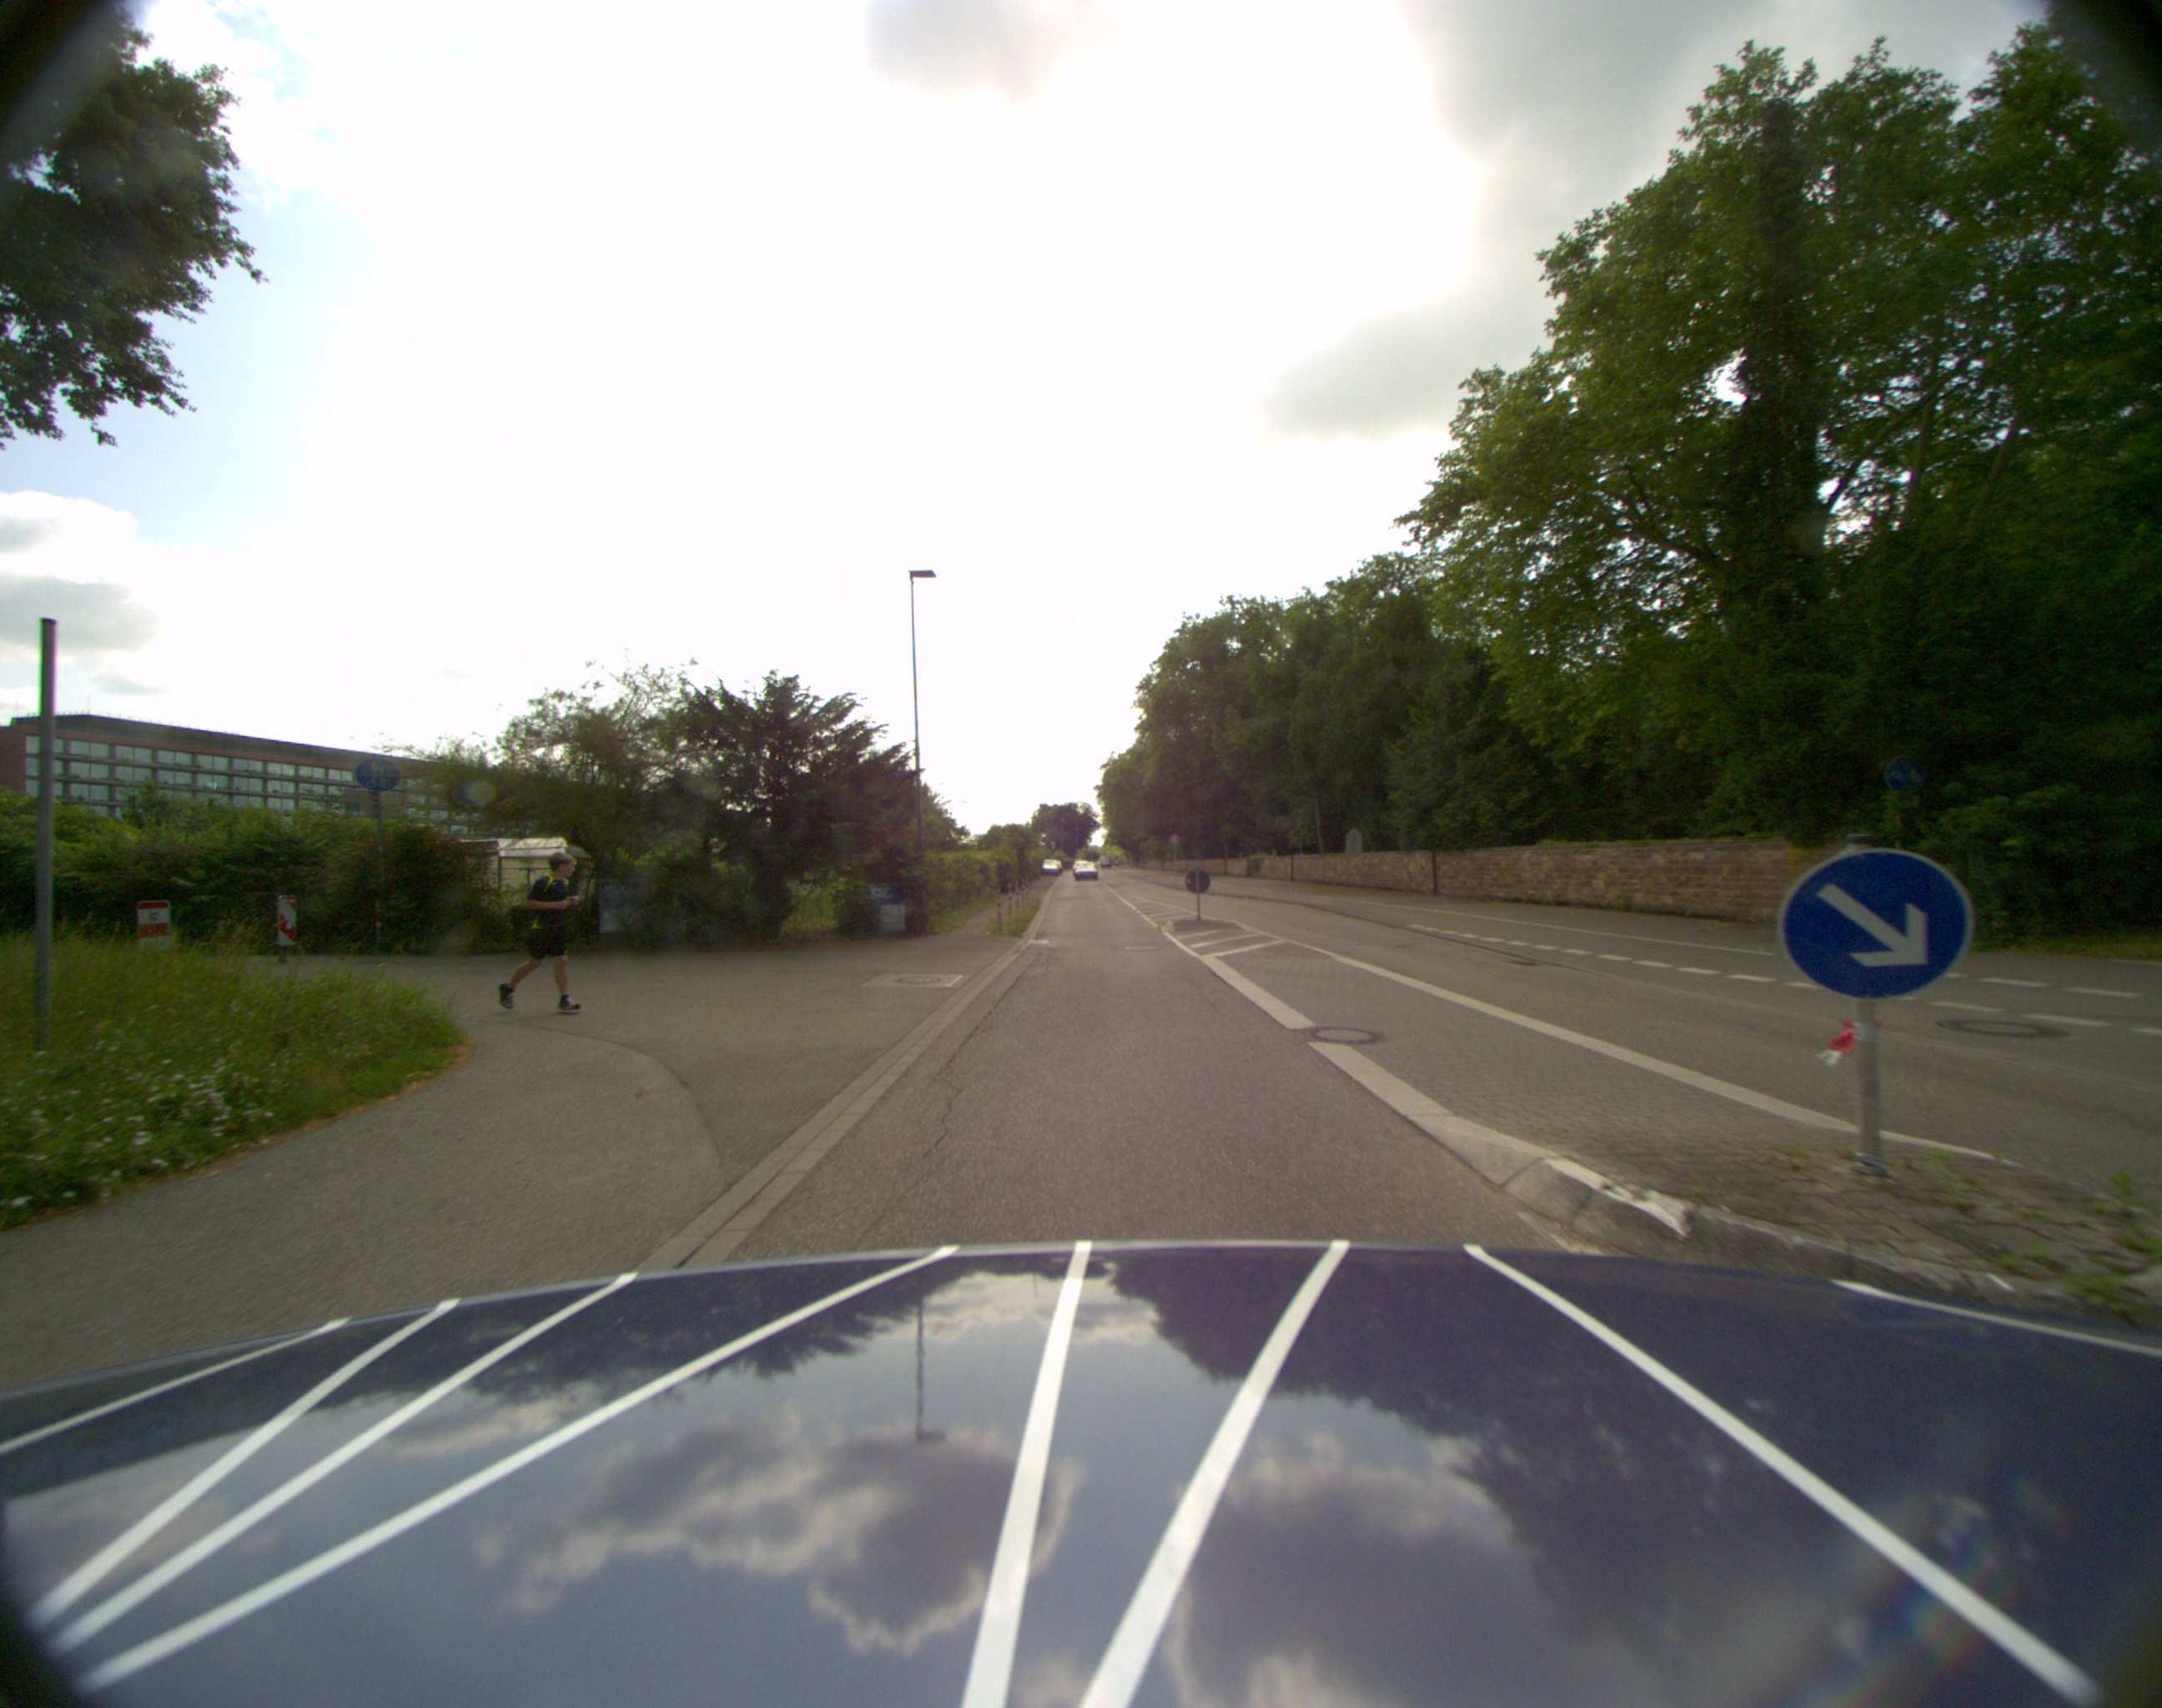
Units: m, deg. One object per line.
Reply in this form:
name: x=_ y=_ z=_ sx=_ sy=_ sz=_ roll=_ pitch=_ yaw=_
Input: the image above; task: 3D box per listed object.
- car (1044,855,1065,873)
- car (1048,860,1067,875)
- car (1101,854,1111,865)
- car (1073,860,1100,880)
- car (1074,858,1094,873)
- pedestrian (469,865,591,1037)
car: x=-2.623 y=1.005 z=76.278 sx=1.799 sy=1.652 sz=4.001 roll=-3 pitch=-1 yaw=1
car: x=-2.601 y=1.540 z=85.274 sx=1.799 sy=1.652 sz=4.001 roll=-3 pitch=-1 yaw=1
car: x=4.933 y=1.074 z=151.139 sx=1.998 sy=2.220 sz=4.376 roll=-1 pitch=0 yaw=1
car: x=0.435 y=1.322 z=60.754 sx=1.965 sy=1.455 sz=4.531 roll=-2 pitch=-3 yaw=0
car: x=0.271 y=1.185 z=77.116 sx=1.965 sy=1.455 sz=4.531 roll=0 pitch=-2 yaw=-1
pedestrian: x=-5.578 y=0.940 z=7.712 sx=0.831 sy=1.641 sz=0.626 roll=0 pitch=0 yaw=18
